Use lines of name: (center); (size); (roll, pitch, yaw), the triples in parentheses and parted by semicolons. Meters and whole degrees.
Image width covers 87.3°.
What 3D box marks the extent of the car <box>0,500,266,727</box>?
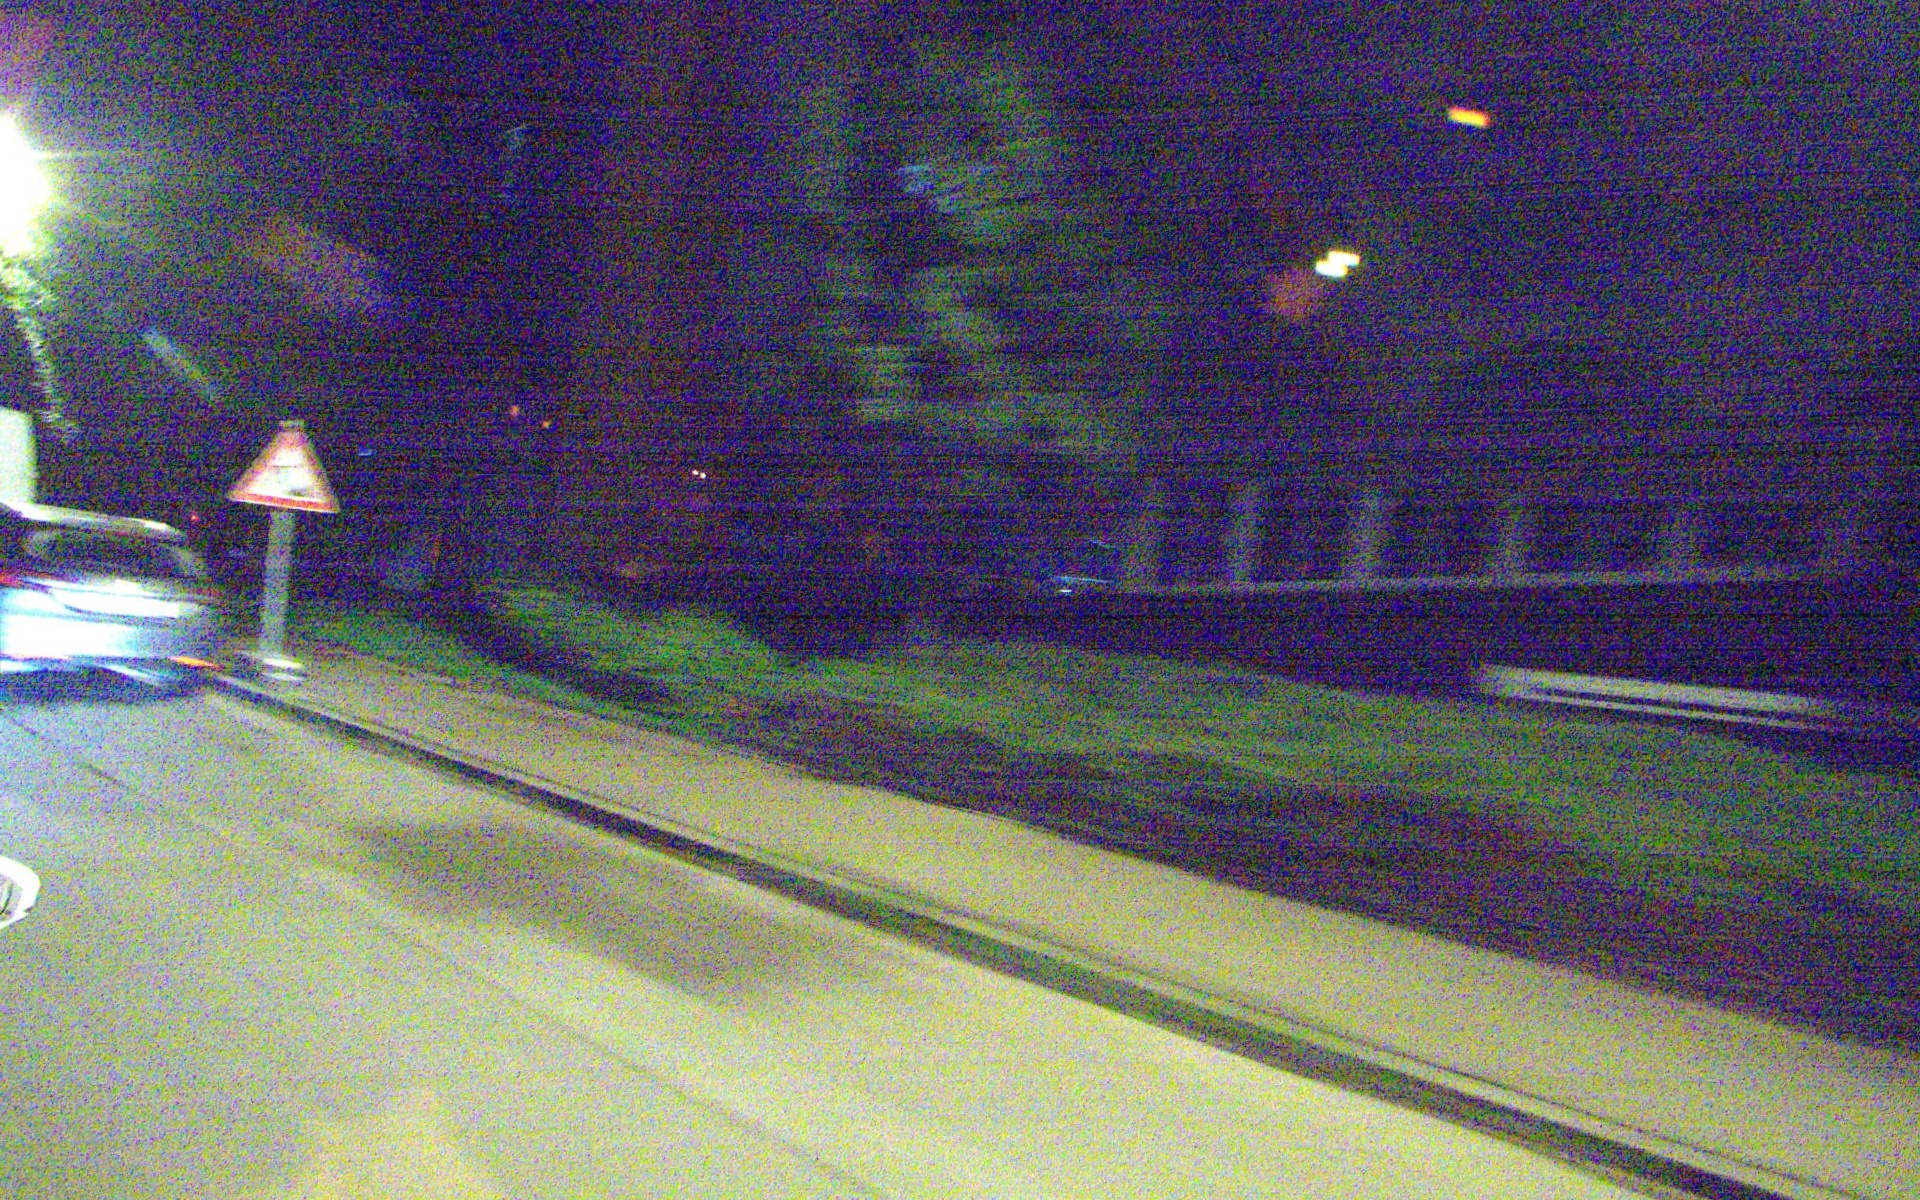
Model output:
car: (-8.086, -0.054, 8.731); (4.565, 1.526, 1.712); (7, -1, 34)

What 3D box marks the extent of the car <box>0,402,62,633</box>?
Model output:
car: (-13.543, -1.280, 12.668); (5.959, 2.556, 2.022); (7, -1, 37)
